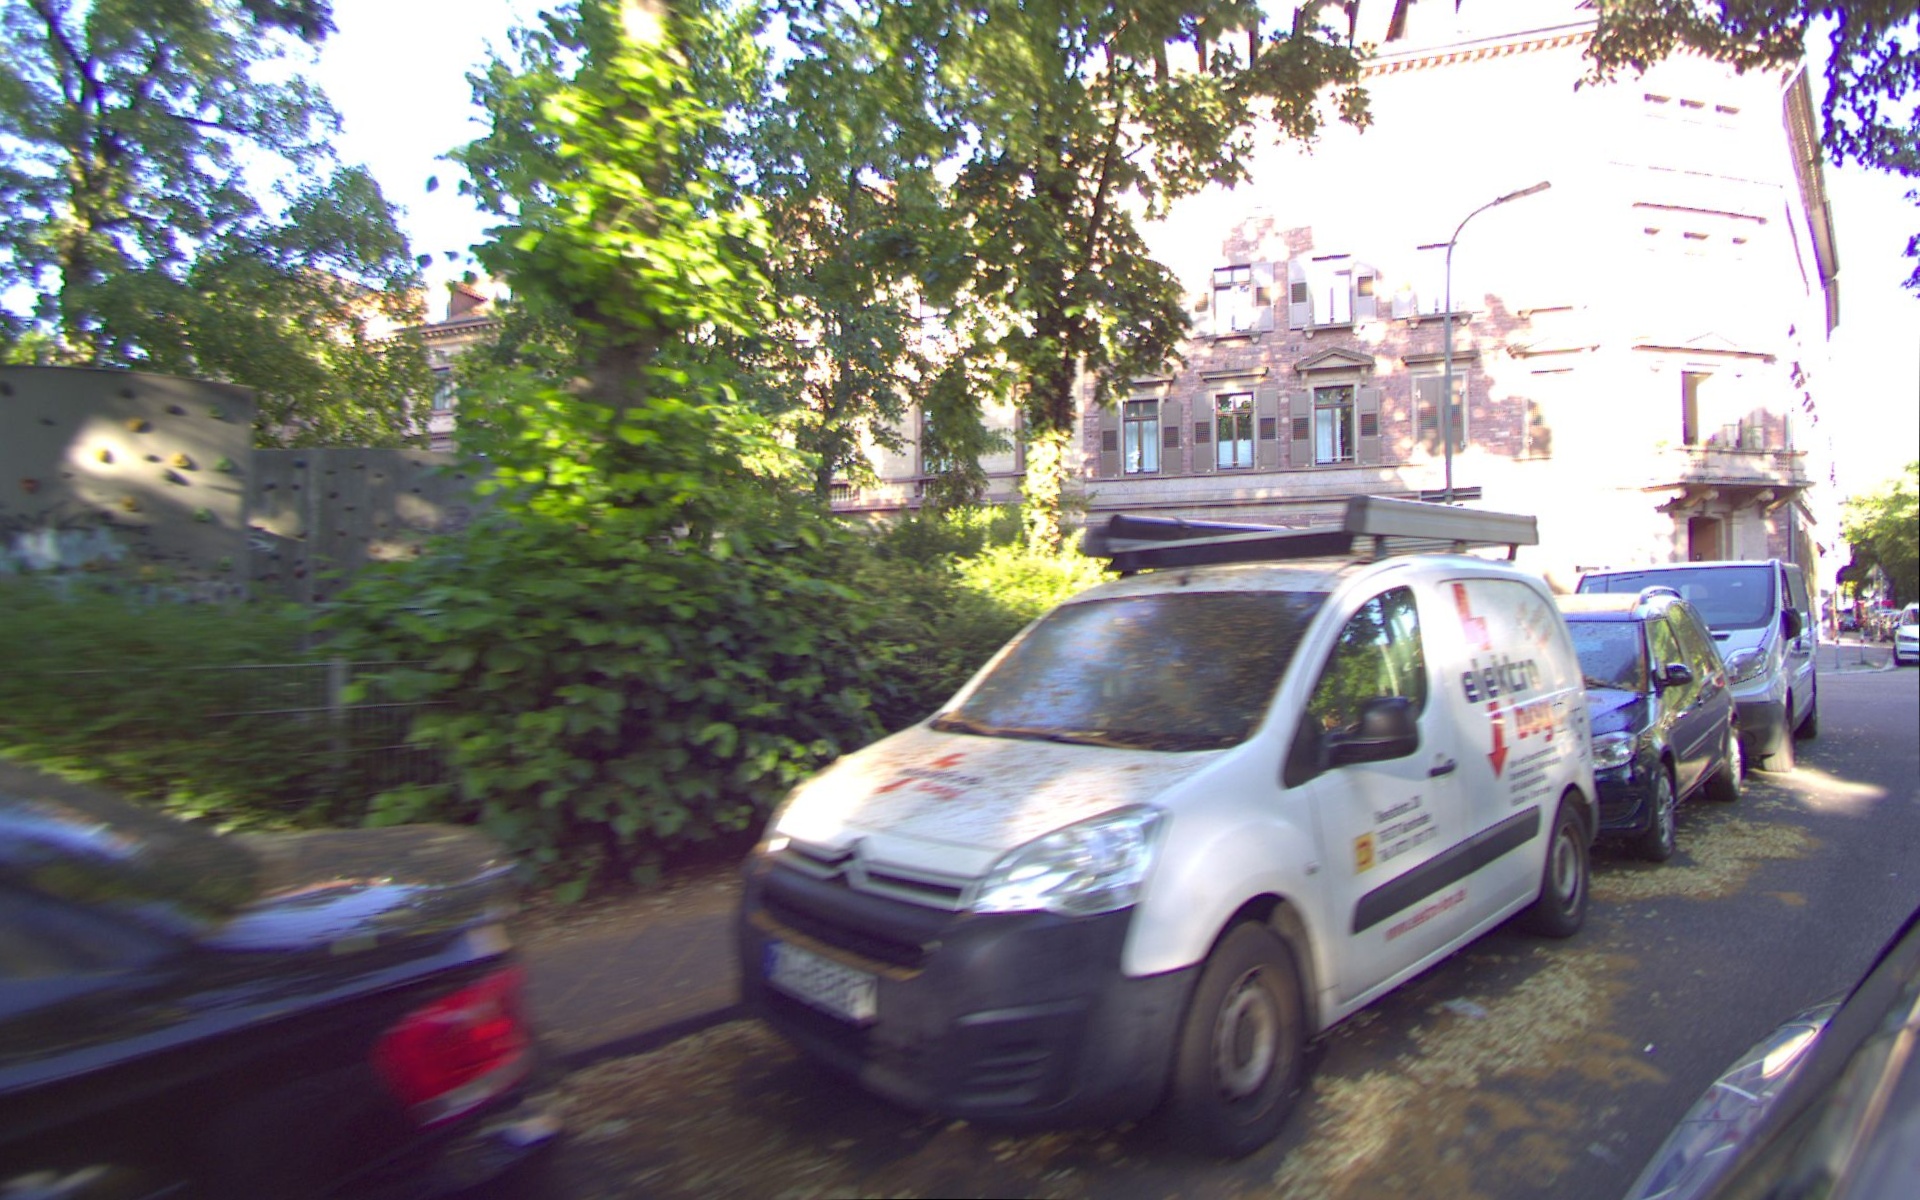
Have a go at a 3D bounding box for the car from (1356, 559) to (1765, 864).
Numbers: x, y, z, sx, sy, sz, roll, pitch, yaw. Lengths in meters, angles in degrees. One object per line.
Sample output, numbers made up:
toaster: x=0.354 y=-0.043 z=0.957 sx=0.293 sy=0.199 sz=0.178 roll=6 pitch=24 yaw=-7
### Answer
car: x=4.507 y=0.607 z=7.342 sx=3.831 sy=1.636 sz=1.567 roll=0 pitch=-1 yaw=-44

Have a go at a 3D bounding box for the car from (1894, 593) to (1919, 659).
car: x=26.349 y=0.612 z=26.919 sx=1.933 sy=1.643 sz=4.181 roll=-6 pitch=-3 yaw=41

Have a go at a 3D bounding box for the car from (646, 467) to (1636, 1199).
car: x=1.119 y=0.597 z=4.214 sx=4.301 sy=1.729 sz=1.789 roll=0 pitch=-1 yaw=-42

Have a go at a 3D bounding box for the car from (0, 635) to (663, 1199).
car: x=-2.611 y=0.797 z=0.932 sx=4.191 sy=1.408 sz=1.675 roll=0 pitch=-1 yaw=-41

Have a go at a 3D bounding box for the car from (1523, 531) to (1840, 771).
car: x=7.952 y=0.429 z=10.889 sx=1.966 sy=1.960 sz=5.368 roll=-2 pitch=-1 yaw=44

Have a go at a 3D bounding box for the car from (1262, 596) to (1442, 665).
car: x=9.510 y=0.772 z=24.792 sx=3.950 sy=1.586 sz=1.672 roll=-1 pitch=-4 yaw=21
